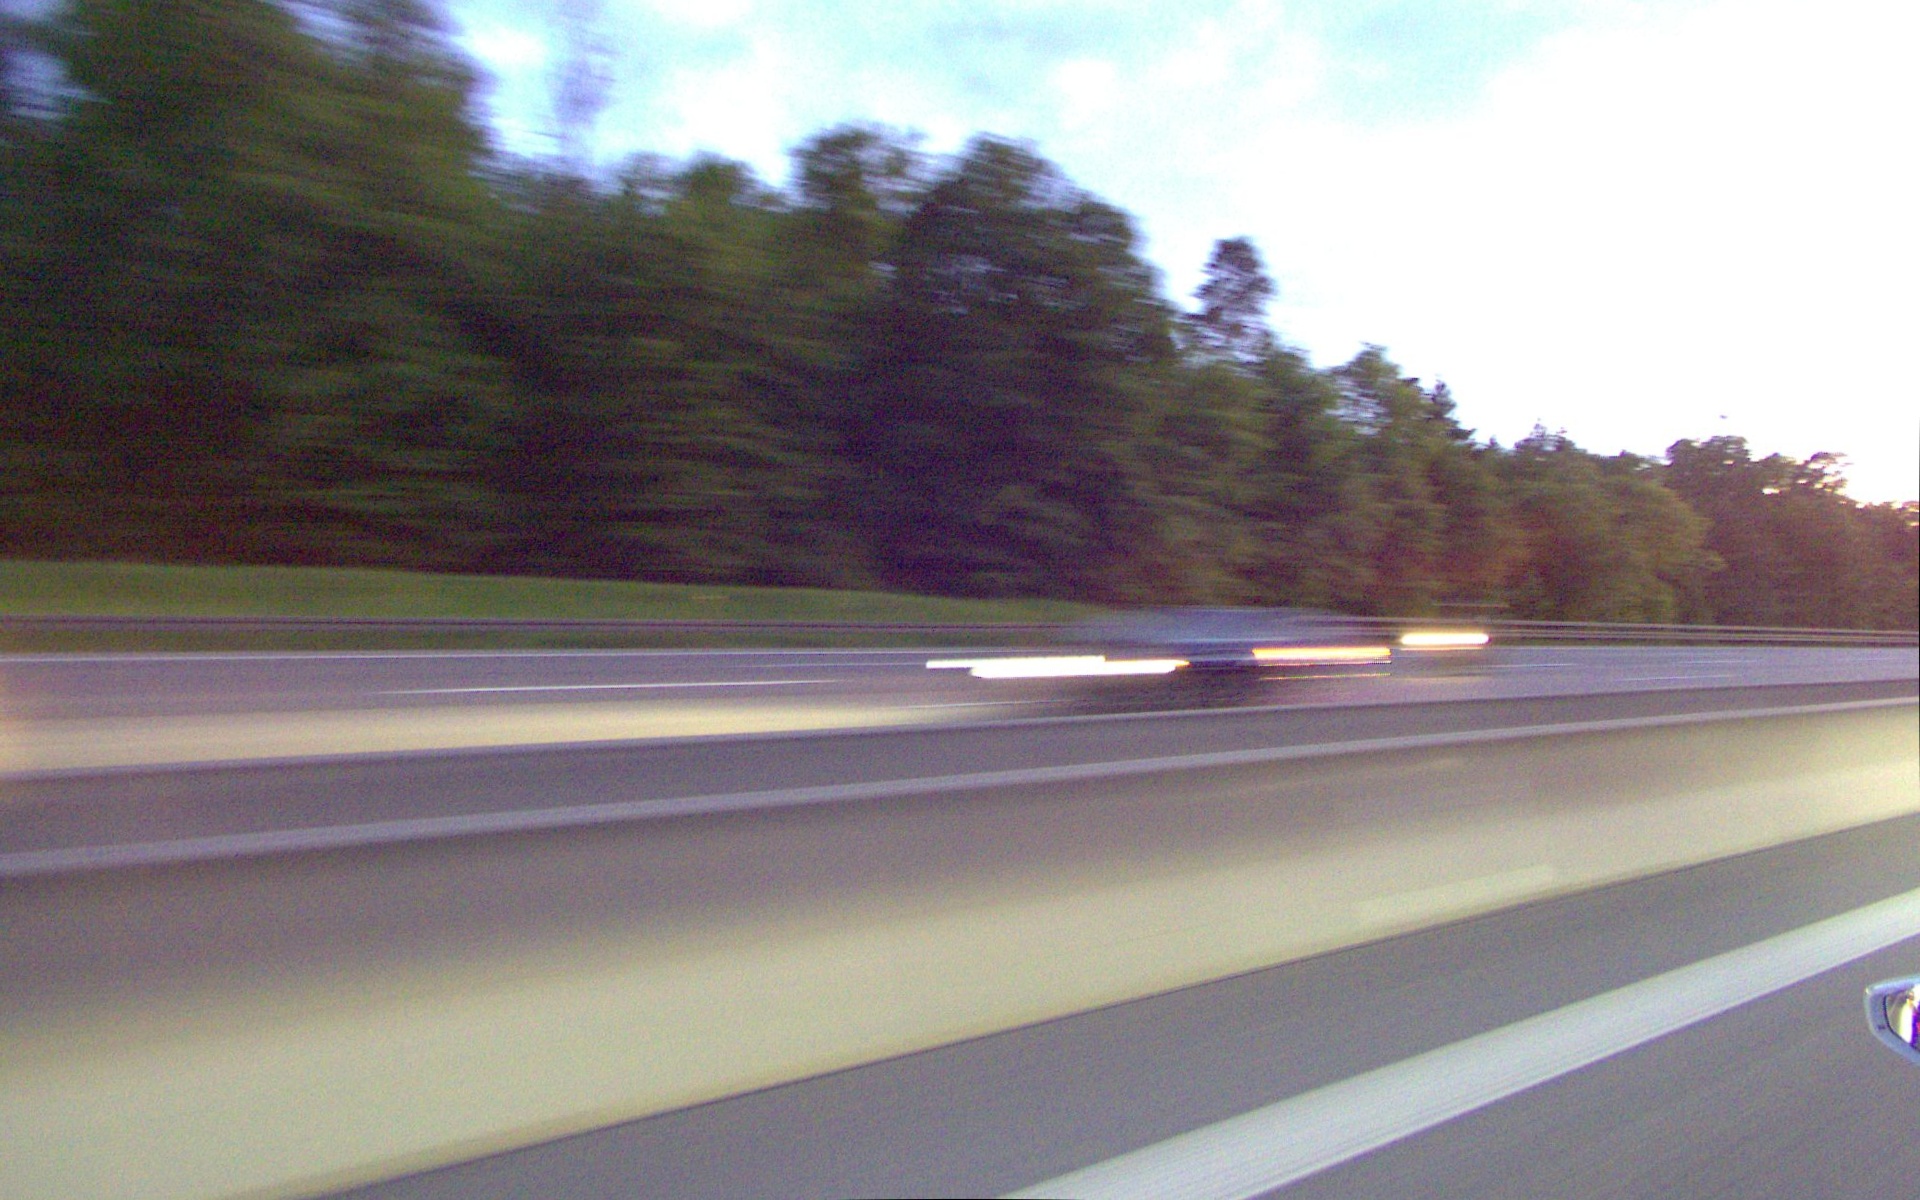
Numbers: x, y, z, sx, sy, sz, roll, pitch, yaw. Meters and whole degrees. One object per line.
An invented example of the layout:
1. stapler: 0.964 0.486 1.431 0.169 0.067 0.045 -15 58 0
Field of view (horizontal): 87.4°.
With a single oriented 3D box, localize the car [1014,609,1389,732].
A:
1. car: 3.480 0.911 14.079 5.296 1.448 1.748 1 0 -28
